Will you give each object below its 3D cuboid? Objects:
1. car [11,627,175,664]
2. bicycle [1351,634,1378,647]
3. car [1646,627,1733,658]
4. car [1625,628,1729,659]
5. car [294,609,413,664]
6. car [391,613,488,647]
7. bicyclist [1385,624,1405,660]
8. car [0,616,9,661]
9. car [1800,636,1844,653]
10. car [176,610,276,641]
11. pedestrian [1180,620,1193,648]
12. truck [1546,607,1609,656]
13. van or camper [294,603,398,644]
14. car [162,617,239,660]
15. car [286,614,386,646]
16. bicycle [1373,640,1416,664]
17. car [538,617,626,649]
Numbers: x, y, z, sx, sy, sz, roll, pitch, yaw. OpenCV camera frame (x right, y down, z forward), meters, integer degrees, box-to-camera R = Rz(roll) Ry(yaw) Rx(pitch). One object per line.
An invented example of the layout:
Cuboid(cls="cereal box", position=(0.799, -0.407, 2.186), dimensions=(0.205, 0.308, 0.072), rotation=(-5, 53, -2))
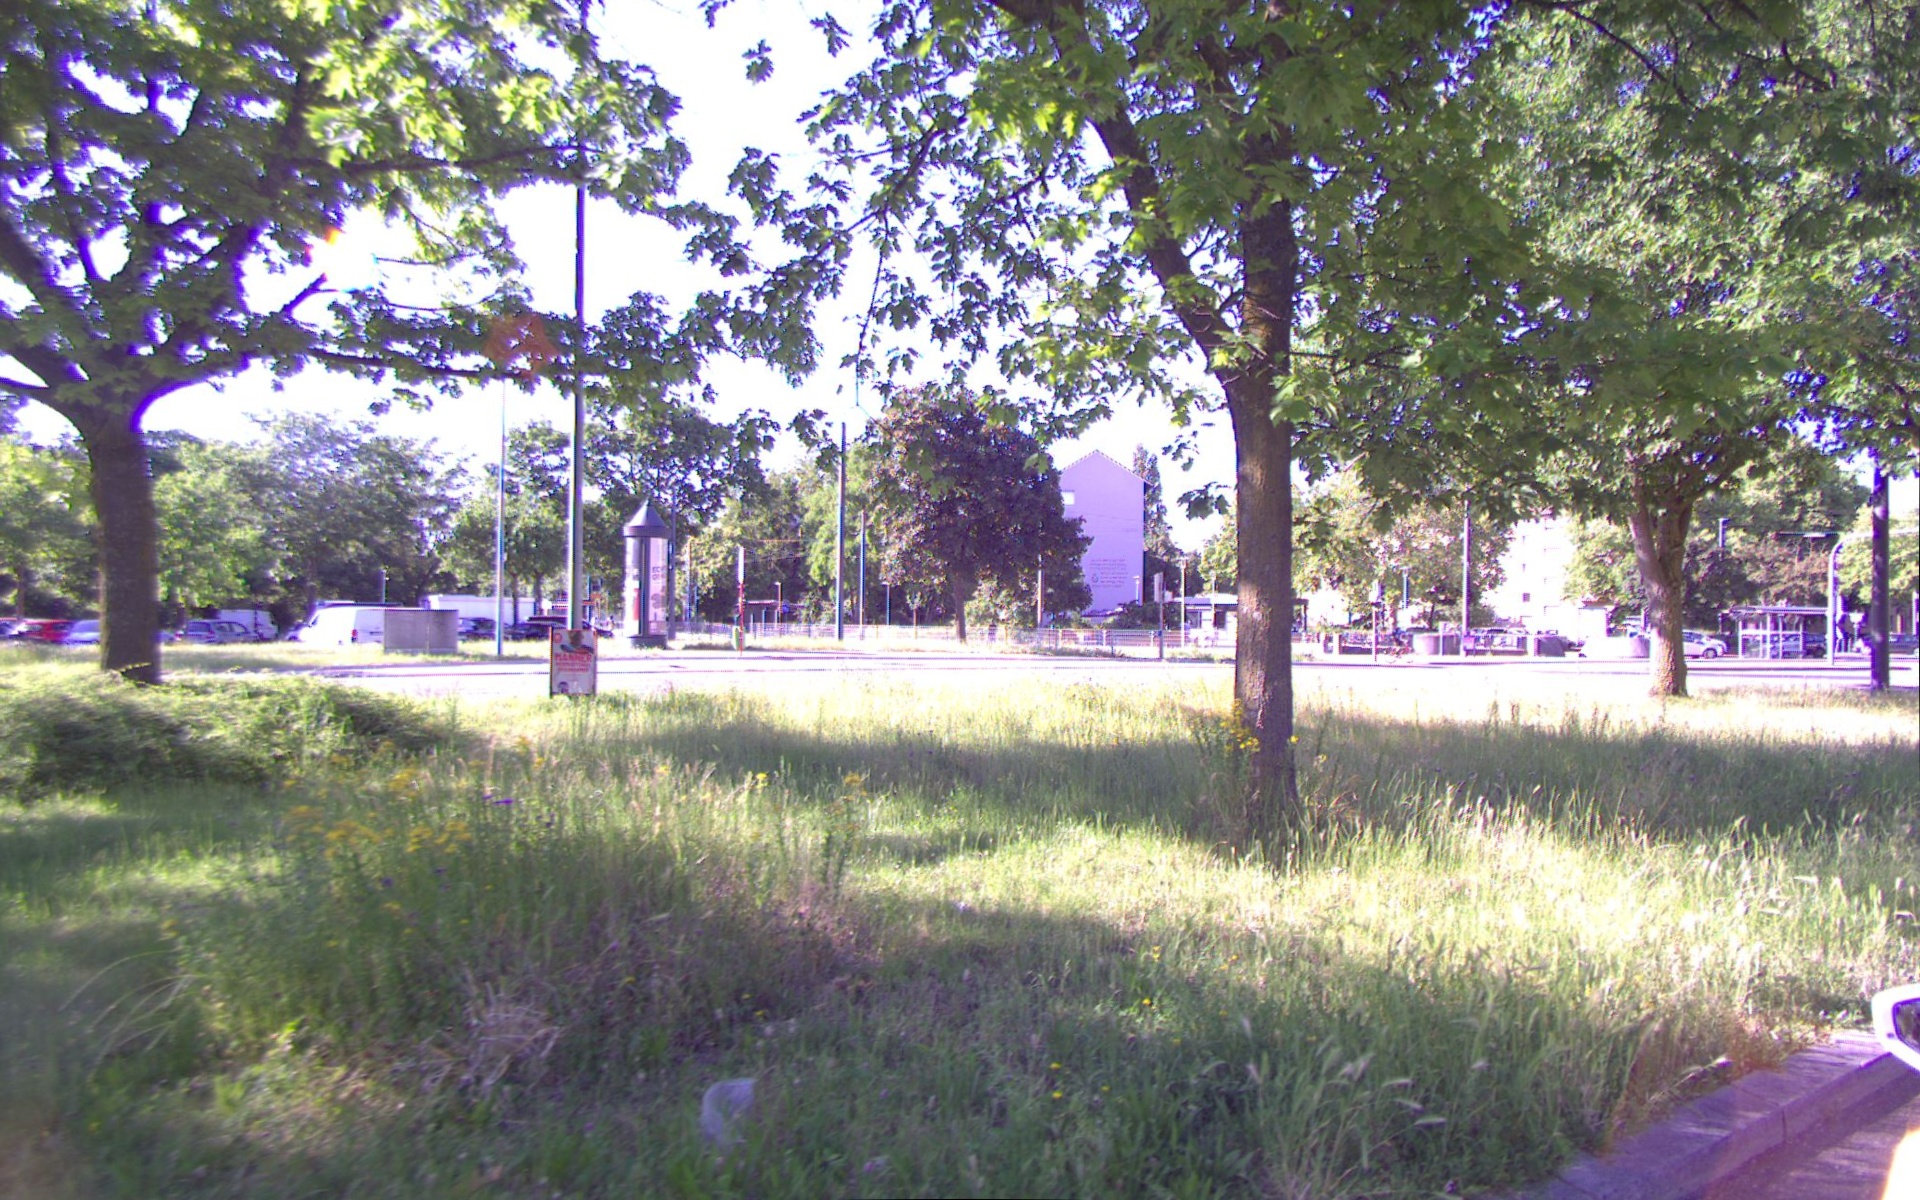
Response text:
Cuboid(cls="car", position=(-28.649, 1.497, 33.374), dimensions=(3.963, 1.143, 1.803), rotation=(2, -1, -37))
Cuboid(cls="bicycle", position=(27.588, 2.730, 68.549), dimensions=(1.652, 0.850, 0.548), rotation=(1, -1, 17))
Cuboid(cls="car", position=(43.428, 2.512, 59.806), dimensions=(3.923, 1.741, 1.762), rotation=(0, 2, -3))
Cuboid(cls="car", position=(41.035, 2.485, 57.578), dimensions=(4.457, 1.565, 1.873), rotation=(1, 2, 13))
Cuboid(cls="car", position=(-24.050, 1.391, 39.773), dimensions=(4.917, 2.040, 2.232), rotation=(0, -1, 35))
Cuboid(cls="car", position=(-21.840, 1.251, 42.124), dimensions=(3.933, 1.299, 1.994), rotation=(0, -1, 34))
Cuboid(cls="bicyclist", position=(19.052, 1.853, 44.002), dimensions=(0.662, 1.551, 0.614), rotation=(0, 1, 4))
Cuboid(cls="car", position=(-32.817, 1.202, 31.521), dimensions=(3.929, 1.467, 1.818), rotation=(1, -1, -11))
Cuboid(cls="car", position=(68.341, 3.542, 79.633), dimensions=(3.659, 1.310, 1.587), rotation=(1, -1, -30))
Cuboid(cls="car", position=(-39.702, 1.353, 54.445), dimensions=(3.943, 1.530, 1.989), rotation=(-1, 0, -23))
Cuboid(cls="pedestrian", position=(15.572, 2.327, 68.958), dimensions=(0.714, 1.853, 0.559), rotation=(1, -1, -9))
Cuboid(cls="truck", position=(39.811, 1.995, 64.848), dimensions=(1.959, 3.035, 4.832), rotation=(0, 0, 12))
Cuboid(cls="van or camper", position=(-32.898, 1.248, 53.957), dimensions=(4.327, 2.124, 1.995), rotation=(1, -1, -14))
Cuboid(cls="car", position=(-34.060, 1.697, 45.145), dimensions=(1.629, 1.628, 3.868), rotation=(2, 2, -19))
Cuboid(cls="car", position=(-32.009, 1.546, 51.648), dimensions=(3.932, 1.493, 1.963), rotation=(1, 1, -14))
Cuboid(cls="bicycle", position=(19.025, 2.257, 44.012), dimensions=(1.625, 1.014, 0.614), rotation=(0, 1, 5))
Cuboid(cls="car", position=(-20.355, 1.771, 54.134), dimensions=(3.969, 1.588, 1.976), rotation=(2, -1, -41))
